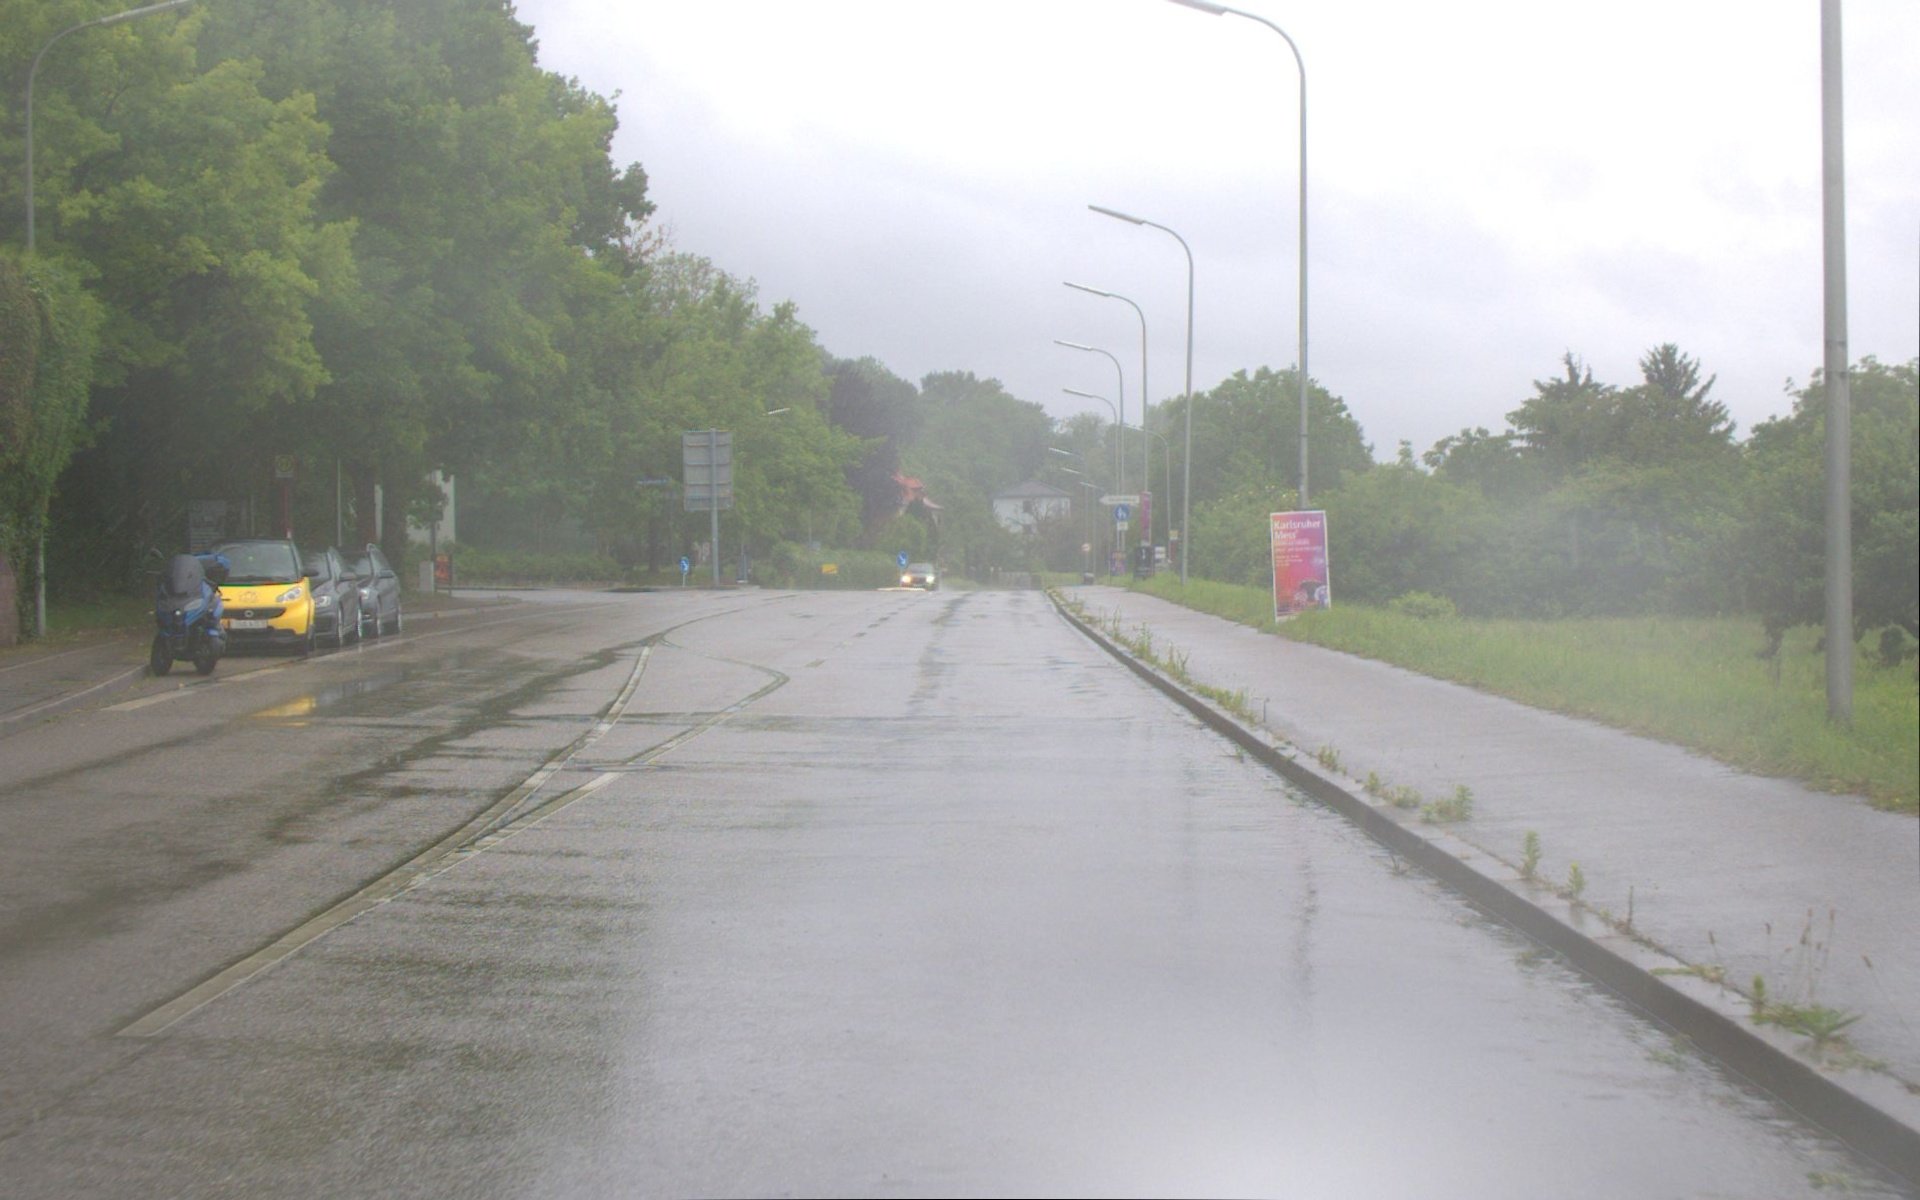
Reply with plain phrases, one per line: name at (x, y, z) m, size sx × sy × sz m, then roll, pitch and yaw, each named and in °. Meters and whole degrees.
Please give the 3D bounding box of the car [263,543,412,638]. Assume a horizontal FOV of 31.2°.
car at (-9.826, -0.173, 54.531) m, size 1.686 × 1.414 × 4.742 m, roll -1°, pitch 1°, yaw -3°

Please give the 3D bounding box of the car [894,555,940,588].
car at (-2.351, -1.538, 187.085) m, size 1.795 × 1.756 × 3.998 m, roll 1°, pitch 1°, yaw 10°

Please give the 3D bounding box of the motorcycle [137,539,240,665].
motorcycle at (-8.573, 0.006, 38.281) m, size 0.837 × 1.336 × 2.500 m, roll -1°, pitch 1°, yaw -7°

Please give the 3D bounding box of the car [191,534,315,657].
car at (-9.182, -0.075, 44.785) m, size 1.433 × 1.532 × 2.820 m, roll -1°, pitch 1°, yaw -9°

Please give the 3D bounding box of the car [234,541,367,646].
car at (-9.369, -0.119, 49.052) m, size 1.433 × 1.414 × 4.105 m, roll -1°, pitch 1°, yaw -5°
